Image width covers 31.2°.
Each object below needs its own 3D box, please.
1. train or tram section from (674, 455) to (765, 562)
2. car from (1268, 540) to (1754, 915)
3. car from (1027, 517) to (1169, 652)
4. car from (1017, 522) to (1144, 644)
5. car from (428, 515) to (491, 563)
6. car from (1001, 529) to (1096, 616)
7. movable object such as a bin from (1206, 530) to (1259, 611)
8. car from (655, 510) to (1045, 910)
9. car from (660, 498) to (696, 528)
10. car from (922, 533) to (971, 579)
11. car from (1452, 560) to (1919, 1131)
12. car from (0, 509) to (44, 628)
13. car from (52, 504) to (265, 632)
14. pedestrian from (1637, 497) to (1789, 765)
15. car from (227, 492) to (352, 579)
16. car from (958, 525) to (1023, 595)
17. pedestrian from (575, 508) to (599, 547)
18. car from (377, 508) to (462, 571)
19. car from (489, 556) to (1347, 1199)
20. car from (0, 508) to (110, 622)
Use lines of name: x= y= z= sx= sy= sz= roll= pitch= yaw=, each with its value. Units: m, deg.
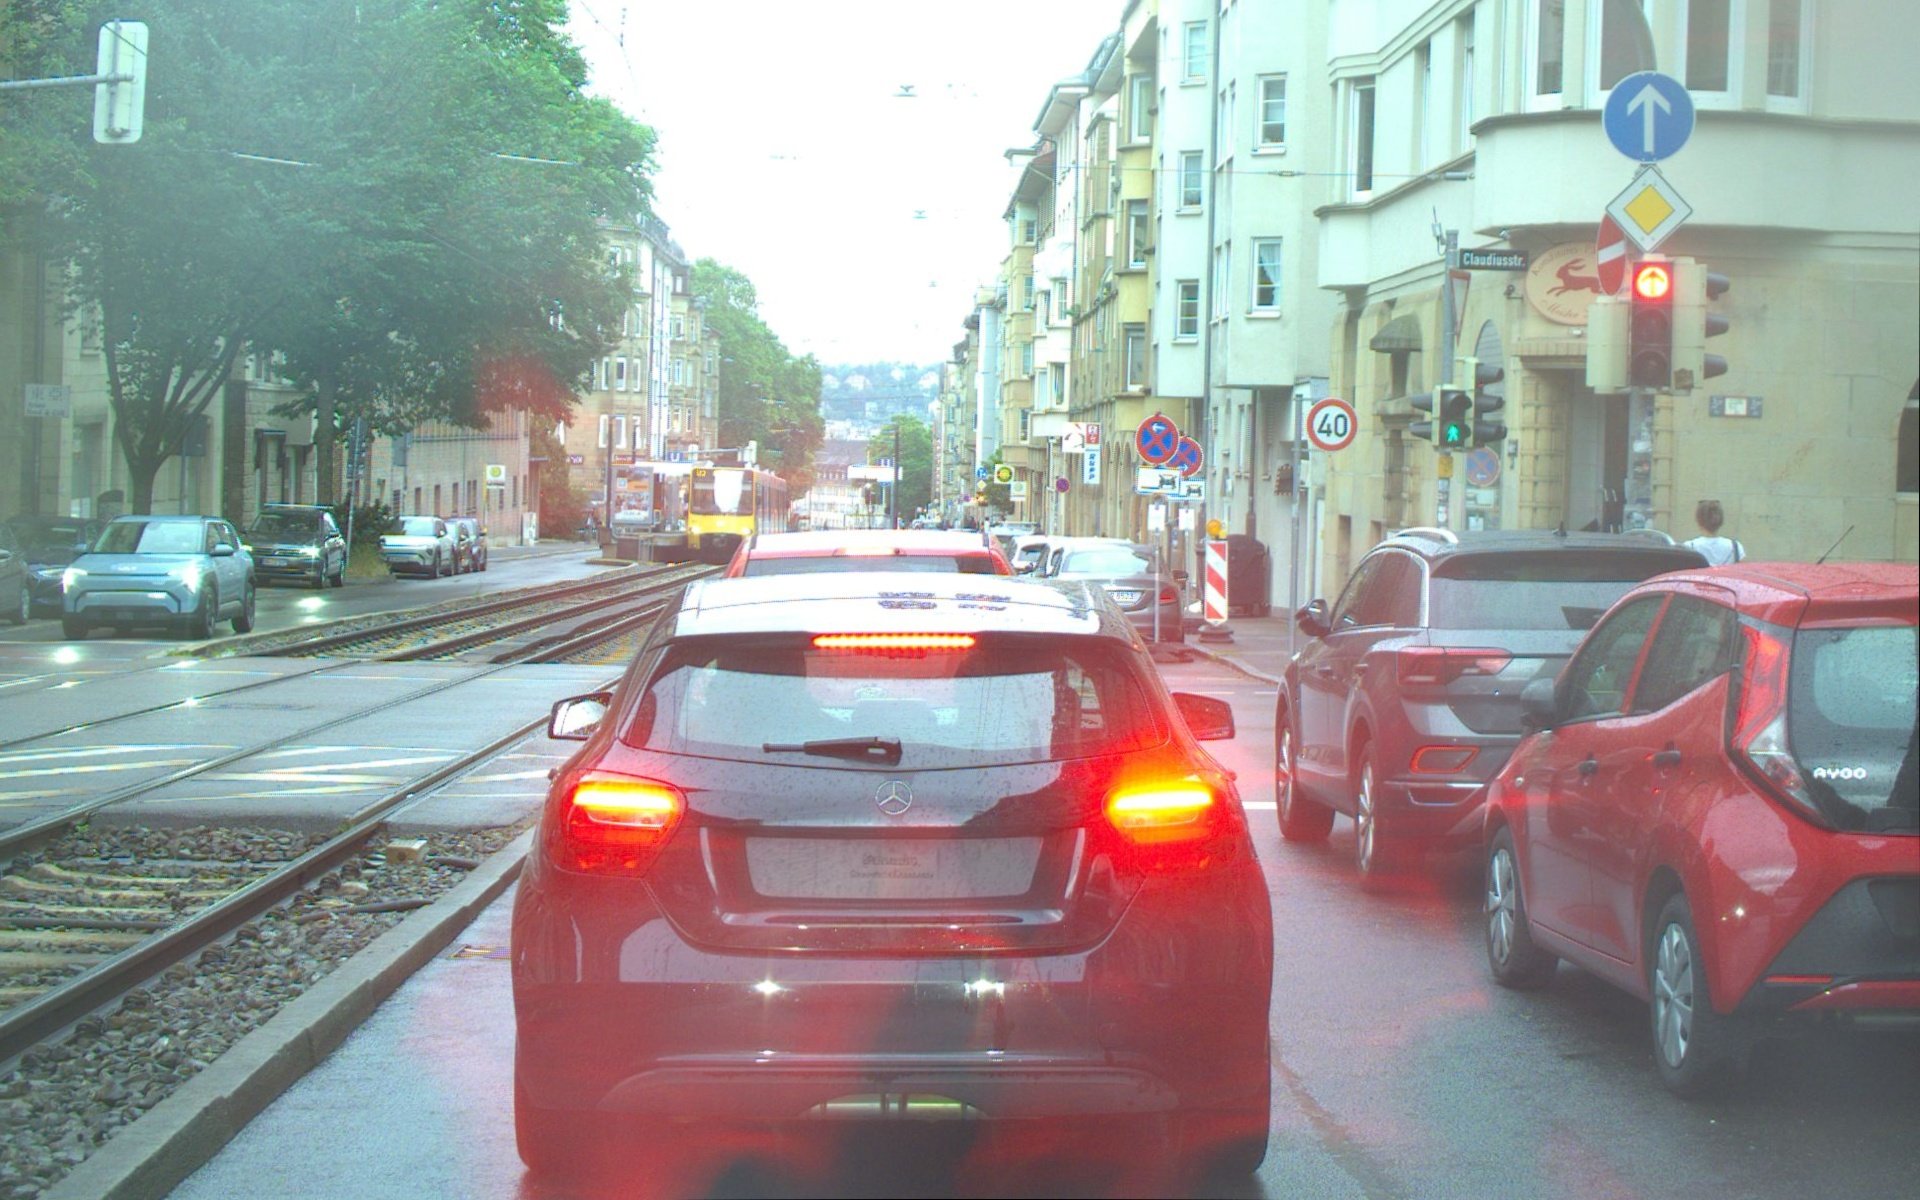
train or tram section: x=-9.023 y=-3.386 z=130.219 sx=2.783 sy=3.847 sz=10.430 roll=1 pitch=0 yaw=-1
car: x=2.394 y=0.481 z=15.784 sx=1.544 sy=1.481 sz=3.830 roll=1 pitch=1 yaw=-1
car: x=1.672 y=-0.217 z=42.660 sx=1.544 sy=1.585 sz=3.548 roll=1 pitch=1 yaw=-1
car: x=1.616 y=-0.254 z=47.136 sx=1.544 sy=1.585 sz=3.548 roll=1 pitch=1 yaw=-1
car: x=-14.341 y=-1.733 z=98.592 sx=1.448 sy=1.326 sz=3.272 roll=1 pitch=0 yaw=-2
car: x=1.556 y=-0.508 z=61.545 sx=1.544 sy=1.481 sz=3.548 roll=1 pitch=1 yaw=-1
movable object such as a bin: x=4.714 y=-0.513 z=59.592 sx=0.878 sy=1.384 sz=0.982 roll=1 pitch=0 yaw=3
car: x=-0.471 y=0.431 z=15.864 sx=1.565 sy=1.604 sz=3.814 roll=1 pitch=0 yaw=-1
car: x=-12.277 y=-3.796 z=149.779 sx=1.377 sy=1.245 sz=3.298 roll=1 pitch=0 yaw=-2
car: x=-0.467 y=-1.590 z=123.747 sx=1.545 sy=1.630 sz=3.686 roll=1 pitch=1 yaw=2
car: x=2.658 y=0.625 z=10.545 sx=1.642 sy=1.443 sz=3.299 roll=1 pitch=1 yaw=-3
car: x=-13.479 y=-0.432 z=45.711 sx=1.752 sy=1.547 sz=4.036 roll=1 pitch=0 yaw=-4
car: x=-10.455 y=-0.416 z=45.097 sx=1.898 sy=1.582 sz=3.973 roll=1 pitch=0 yaw=-1
pedestrian: x=5.021 y=0.198 z=22.983 sx=0.741 sy=1.742 sz=1.111 roll=1 pitch=0 yaw=-1
car: x=-13.957 y=-1.328 z=71.720 sx=1.875 sy=1.731 sz=3.918 roll=1 pitch=0 yaw=-1
car: x=0.635 y=-0.866 z=73.614 sx=1.294 sy=1.437 sz=2.929 roll=1 pitch=1 yaw=-1
pedestrian: x=-19.113 y=-3.729 z=176.291 sx=1.053 sy=1.951 sz=1.043 roll=2 pitch=1 yaw=1
car: x=-13.996 y=-1.546 z=89.183 sx=1.589 sy=1.575 sz=3.918 roll=1 pitch=0 yaw=-1
car: x=-0.117 y=0.633 z=9.477 sx=1.829 sy=1.453 sz=4.104 roll=1 pitch=1 yaw=-1
car: x=-13.733 y=-0.521 z=50.741 sx=1.716 sy=1.605 sz=3.919 roll=1 pitch=0 yaw=-5
